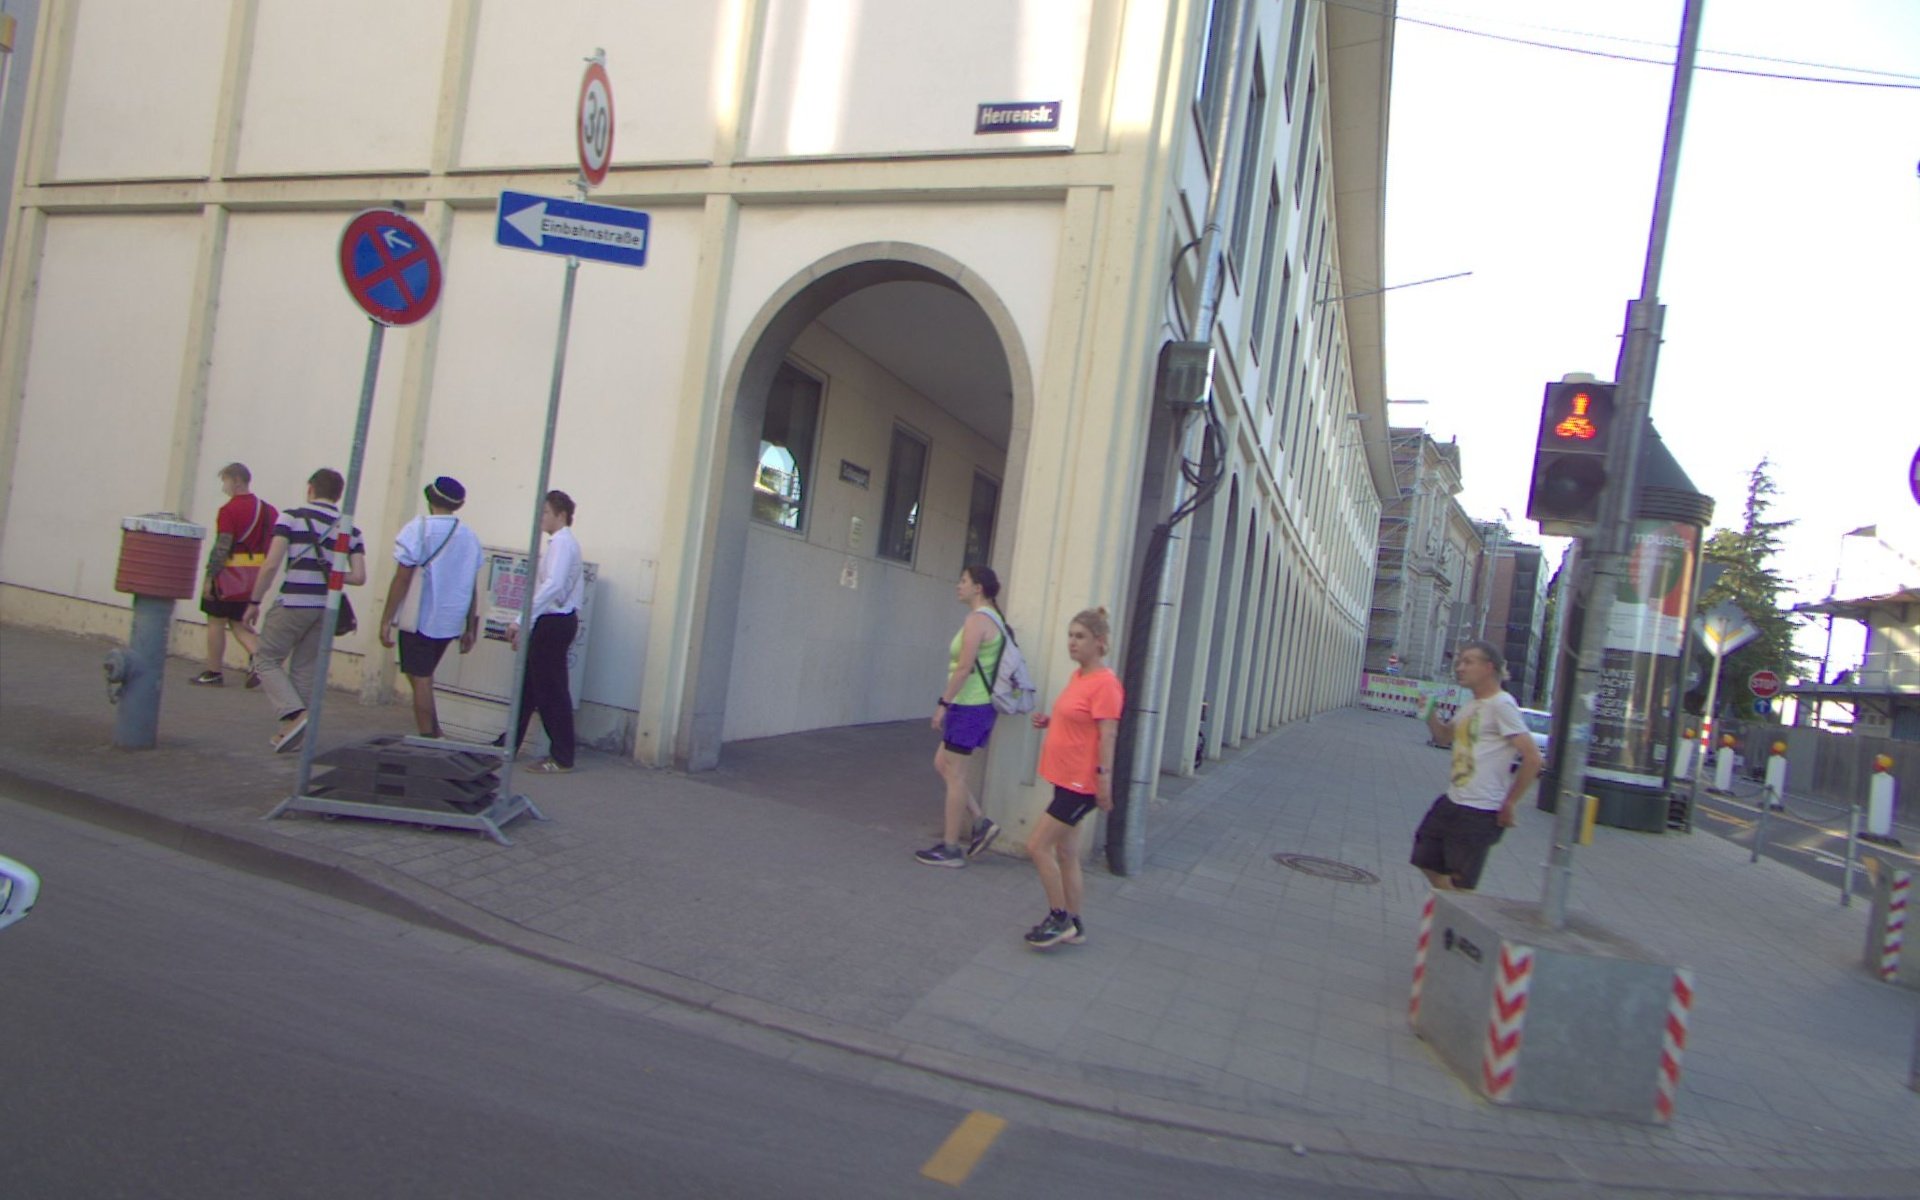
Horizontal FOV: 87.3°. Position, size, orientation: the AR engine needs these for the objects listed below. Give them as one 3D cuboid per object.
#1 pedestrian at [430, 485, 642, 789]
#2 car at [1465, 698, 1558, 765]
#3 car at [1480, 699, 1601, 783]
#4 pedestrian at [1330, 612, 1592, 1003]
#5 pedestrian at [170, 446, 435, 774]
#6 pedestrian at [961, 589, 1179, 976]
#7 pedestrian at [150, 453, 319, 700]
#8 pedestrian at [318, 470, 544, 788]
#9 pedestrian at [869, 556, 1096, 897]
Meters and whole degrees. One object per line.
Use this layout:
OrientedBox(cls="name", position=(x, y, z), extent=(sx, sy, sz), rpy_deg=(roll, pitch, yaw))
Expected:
OrientedBox(cls="pedestrian", position=(-2.796, 0.219, 6.657), extent=(0.924, 1.802, 0.710), rpy_deg=(8, 3, 21))
OrientedBox(cls="car", position=(16.230, 3.837, 29.815), extent=(1.896, 1.483, 4.002), rpy_deg=(9, -2, 25))
OrientedBox(cls="car", position=(13.645, 3.272, 23.881), extent=(1.896, 1.483, 4.002), rpy_deg=(9, -2, 25))
OrientedBox(cls="pedestrian", position=(2.575, 1.013, 5.312), extent=(0.959, 1.749, 0.798), rpy_deg=(7, 0, 21))
OrientedBox(cls="pedestrian", position=(-4.153, 0.037, 6.367), extent=(1.224, 1.826, 0.715), rpy_deg=(8, 3, 21))
OrientedBox(cls="pedestrian", position=(0.545, 0.817, 4.859), extent=(0.713, 1.646, 0.619), rpy_deg=(8, 4, 21))
OrientedBox(cls="pedestrian", position=(-5.834, -0.188, 8.105), extent=(0.761, 1.826, 0.710), rpy_deg=(8, 3, 21))
OrientedBox(cls="pedestrian", position=(-3.333, 0.160, 6.361), extent=(0.924, 1.802, 0.710), rpy_deg=(8, 3, 21))
OrientedBox(cls="pedestrian", position=(0.142, 0.680, 5.850), extent=(0.950, 1.733, 0.674), rpy_deg=(8, 4, 21))
